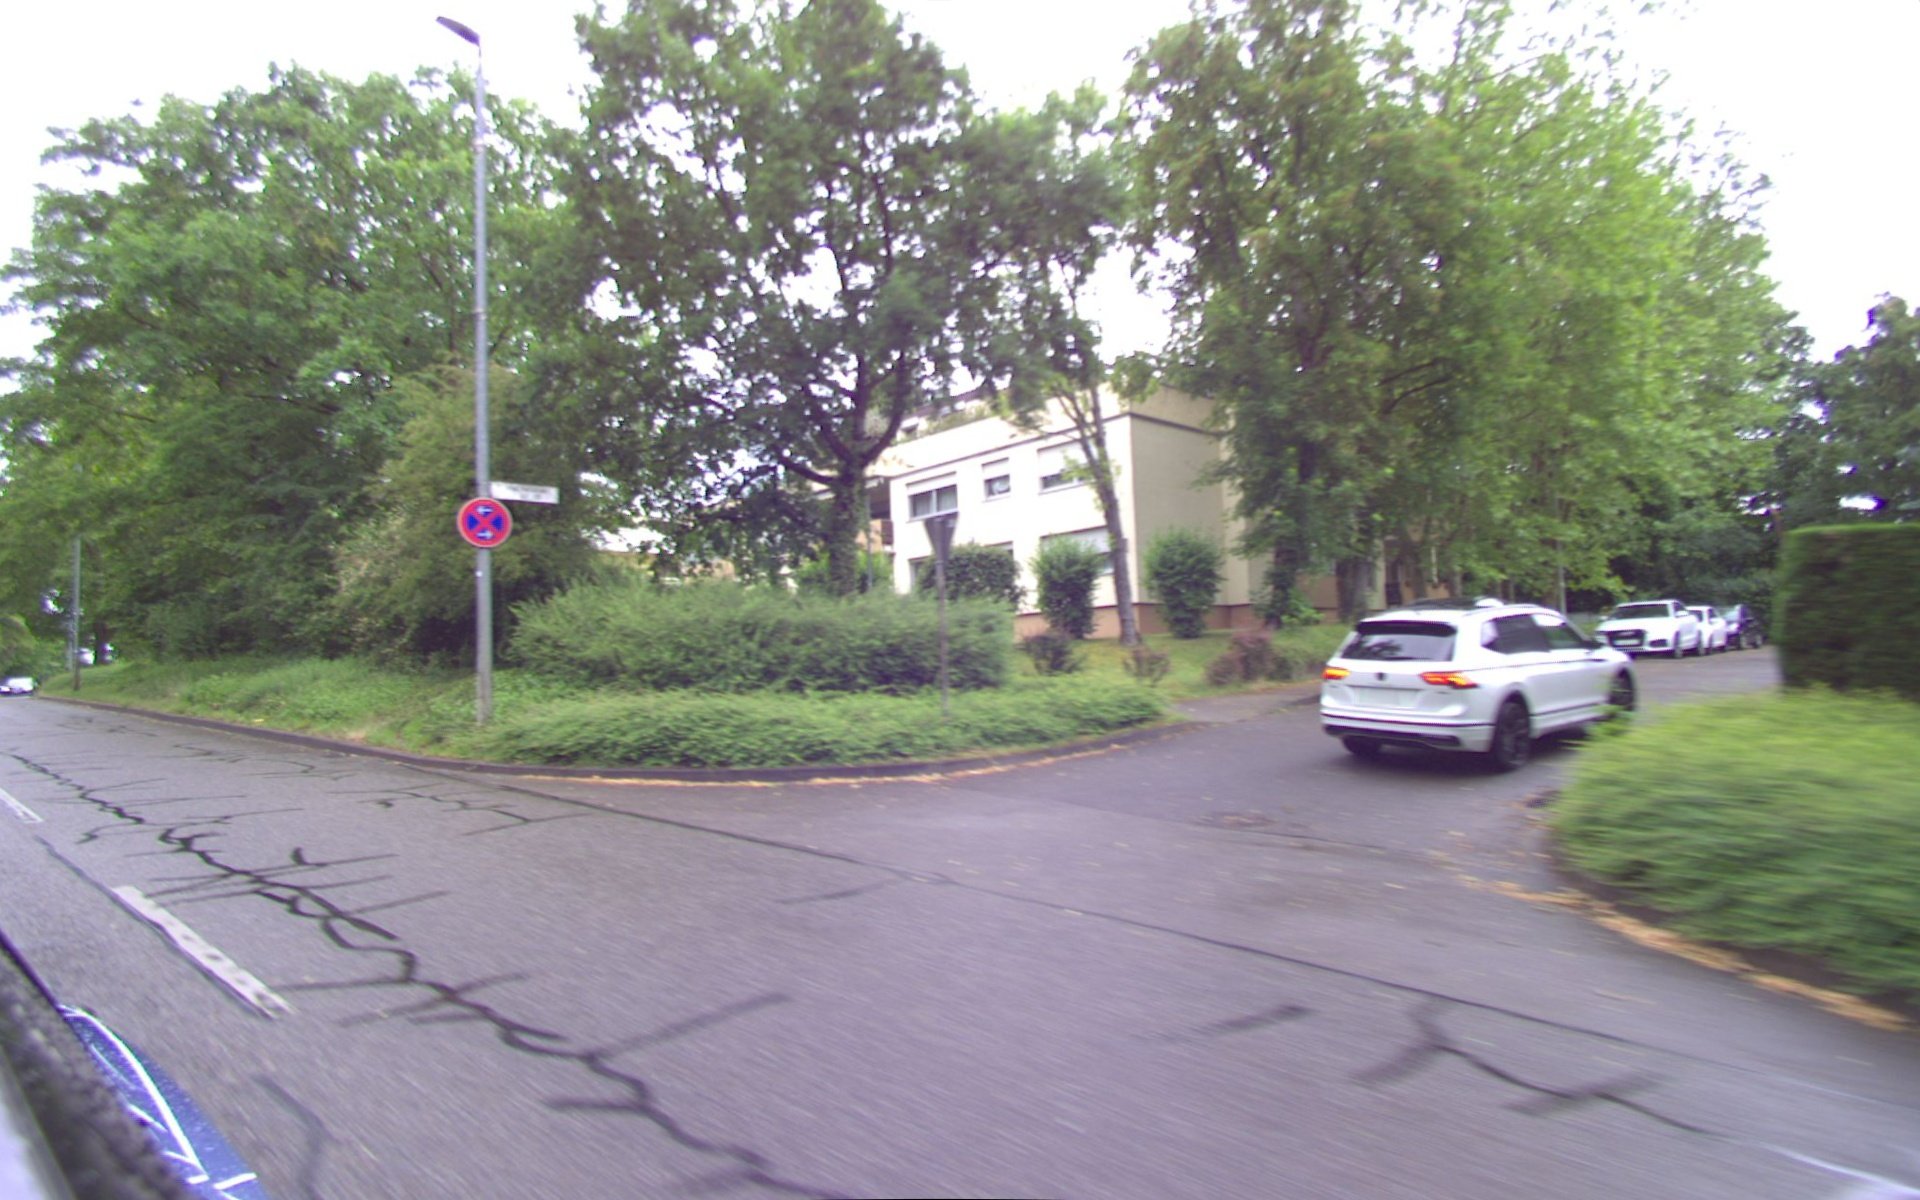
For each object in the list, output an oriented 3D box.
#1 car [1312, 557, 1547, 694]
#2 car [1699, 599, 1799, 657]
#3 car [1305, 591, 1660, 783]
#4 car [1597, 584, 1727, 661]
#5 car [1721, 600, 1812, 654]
[{"bbox_3d":[7.930,0.429,16.993,3.937,2.029,2.003,0,-3,-40],"label":"car"},{"bbox_3d":[22.737,0.799,29.117,3.940,1.461,1.553,1,-7,-44],"label":"car"},{"bbox_3d":[6.012,0.817,11.489,4.132,1.698,1.916,-2,1,-36],"label":"car"},{"bbox_3d":[18.210,0.560,26.202,3.940,1.822,2.002,1,-1,-43],"label":"car"},{"bbox_3d":[25.641,0.837,32.130,3.940,1.506,1.601,0,-6,-43],"label":"car"}]
